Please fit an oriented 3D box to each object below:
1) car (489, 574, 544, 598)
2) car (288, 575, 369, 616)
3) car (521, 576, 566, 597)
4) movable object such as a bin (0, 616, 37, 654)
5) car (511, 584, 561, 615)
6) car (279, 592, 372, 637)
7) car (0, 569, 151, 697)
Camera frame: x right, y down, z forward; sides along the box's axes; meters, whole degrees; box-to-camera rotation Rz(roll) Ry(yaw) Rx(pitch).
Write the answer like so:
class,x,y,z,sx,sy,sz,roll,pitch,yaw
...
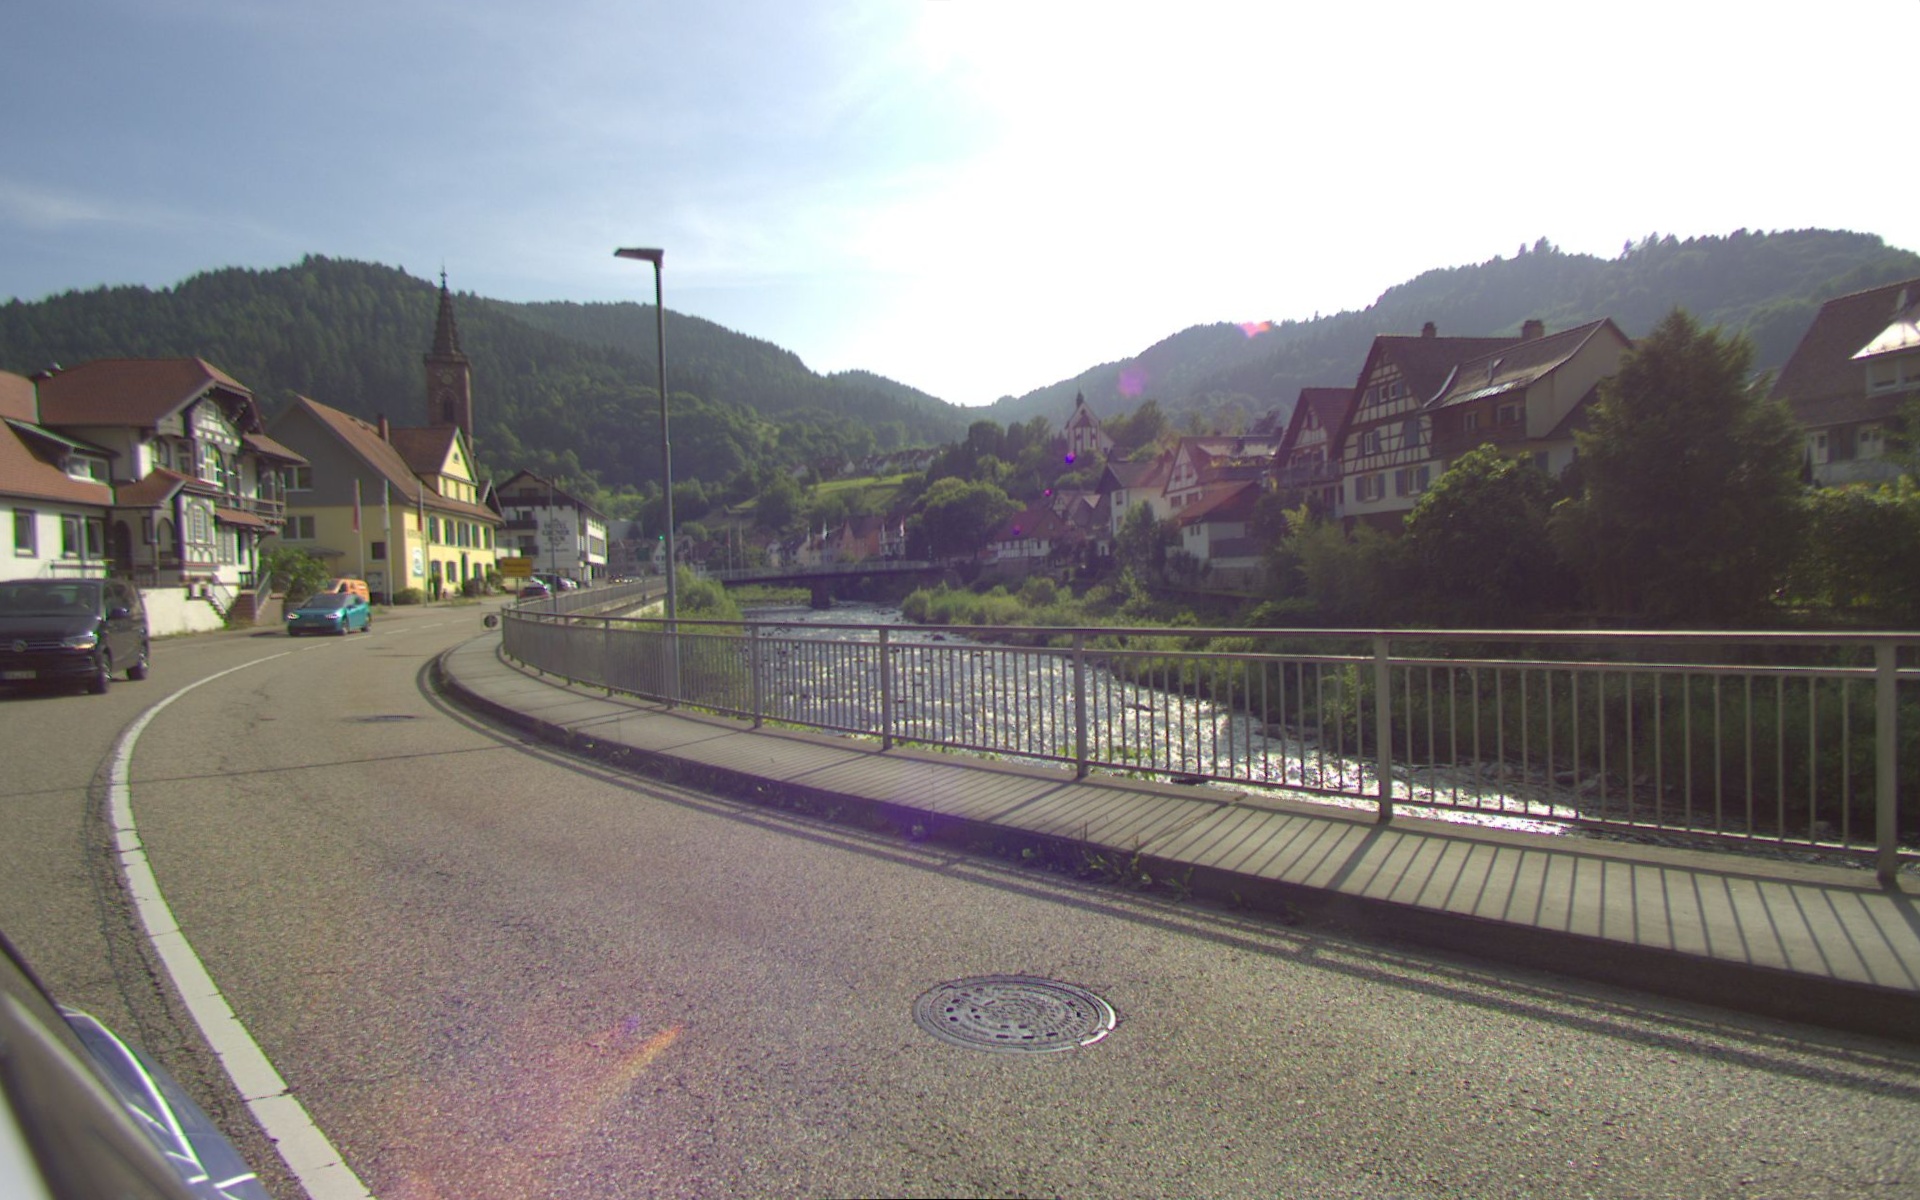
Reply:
class,x,y,z,sx,sy,sz,roll,pitch,yaw
car,-41.621,-1.298,94.968,4.387,1.973,1.717,3,1,-8
car,-32.984,-0.238,53.010,1.884,2.012,4.845,2,0,-10
car,-40.307,-1.303,97.964,3.699,1.907,1.374,2,1,-8
movable object such as a bin,-28.214,1.040,30.342,0.471,1.070,0.755,-3,1,-15
car,-24.118,-0.021,57.708,1.791,1.655,4.009,2,0,-11
car,-23.535,0.500,37.673,1.656,1.533,3.875,0,1,-11
car,-15.902,0.510,17.869,1.857,1.979,4.880,1,-1,-31
